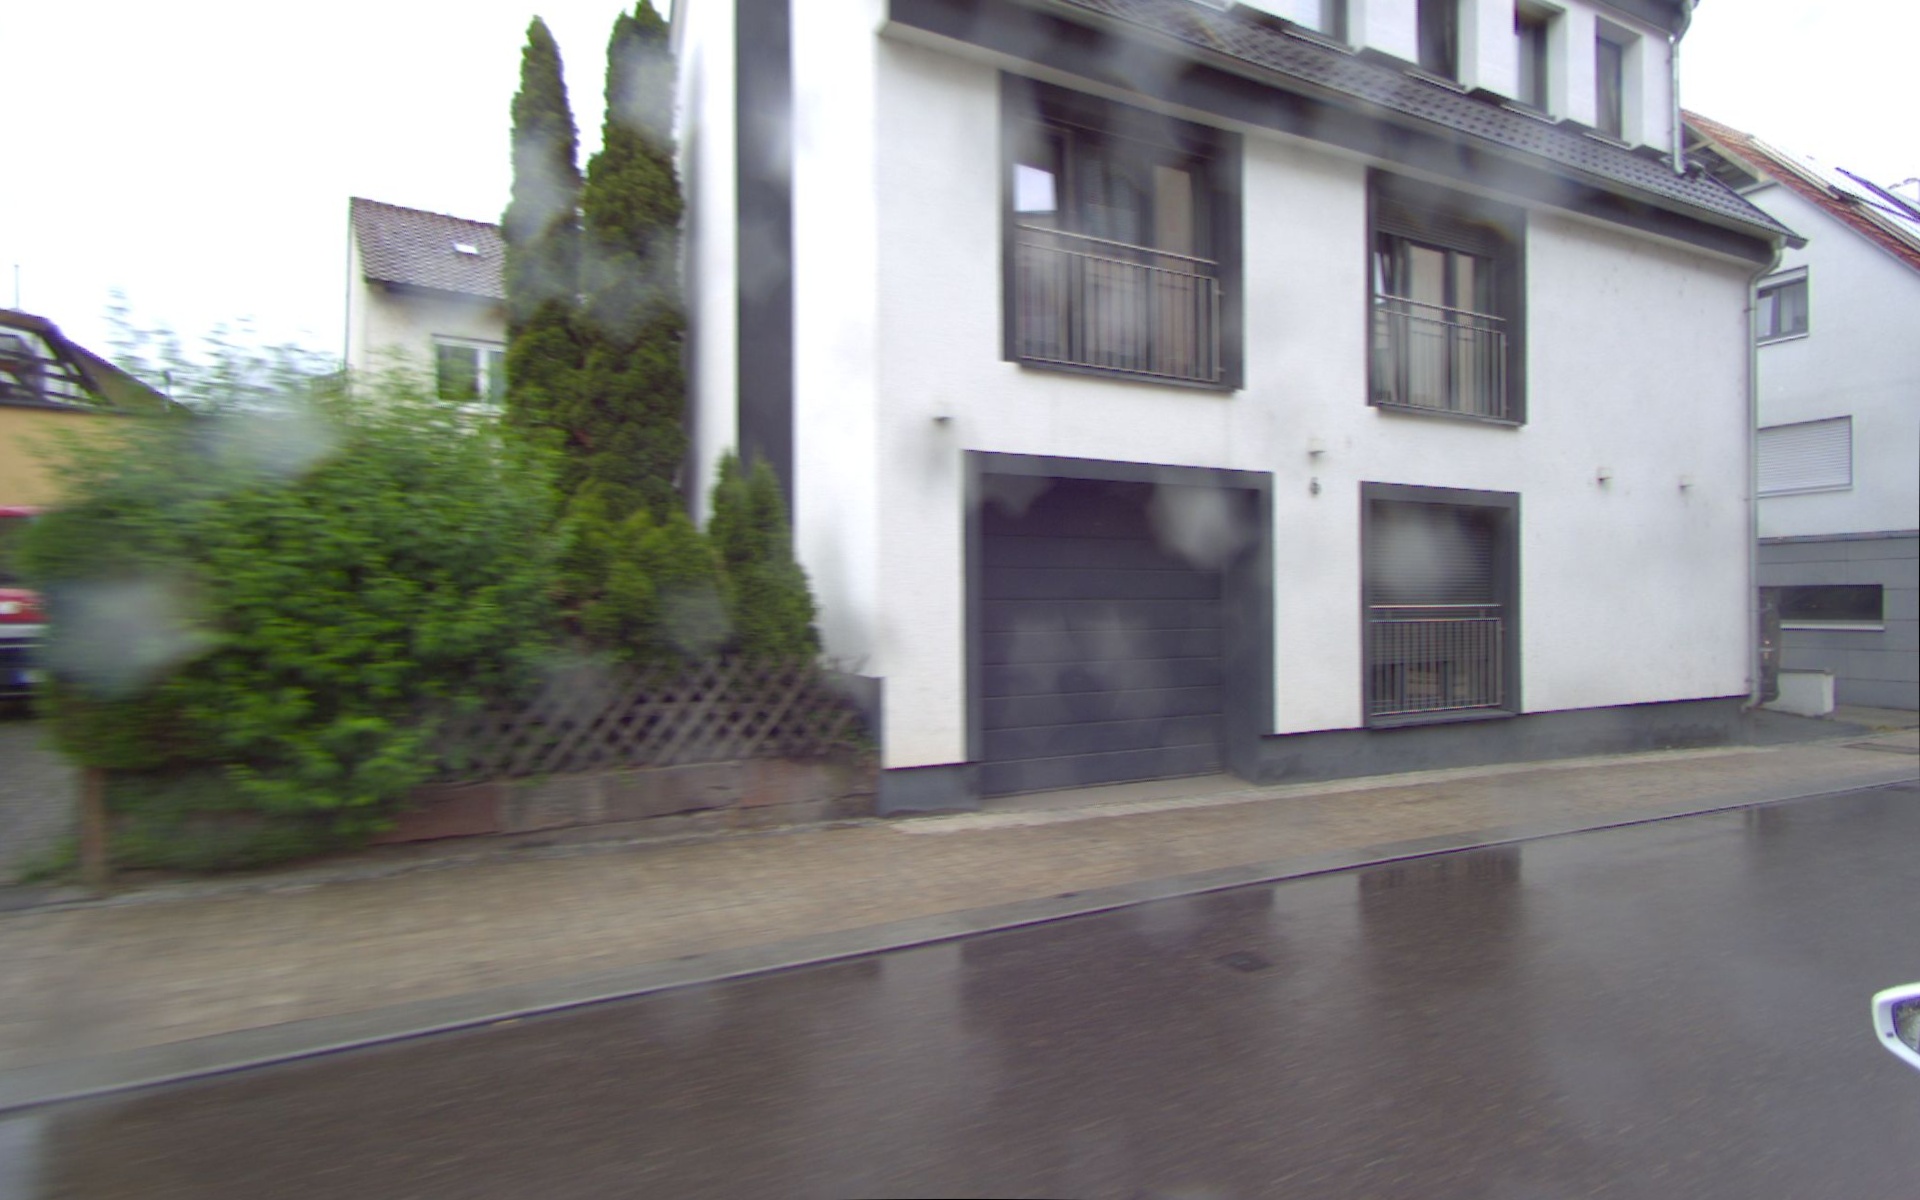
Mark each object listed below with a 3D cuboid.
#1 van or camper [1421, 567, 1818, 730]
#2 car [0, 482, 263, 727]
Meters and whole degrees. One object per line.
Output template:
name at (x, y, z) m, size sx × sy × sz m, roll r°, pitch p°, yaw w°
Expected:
van or camper at (10.418, 0.621, 16.434) m, size 1.974 × 1.959 × 5.006 m, roll 2°, pitch 4°, yaw -26°
car at (-9.932, 0.038, 11.843) m, size 2.300 × 2.233 × 5.872 m, roll 2°, pitch -1°, yaw -31°
